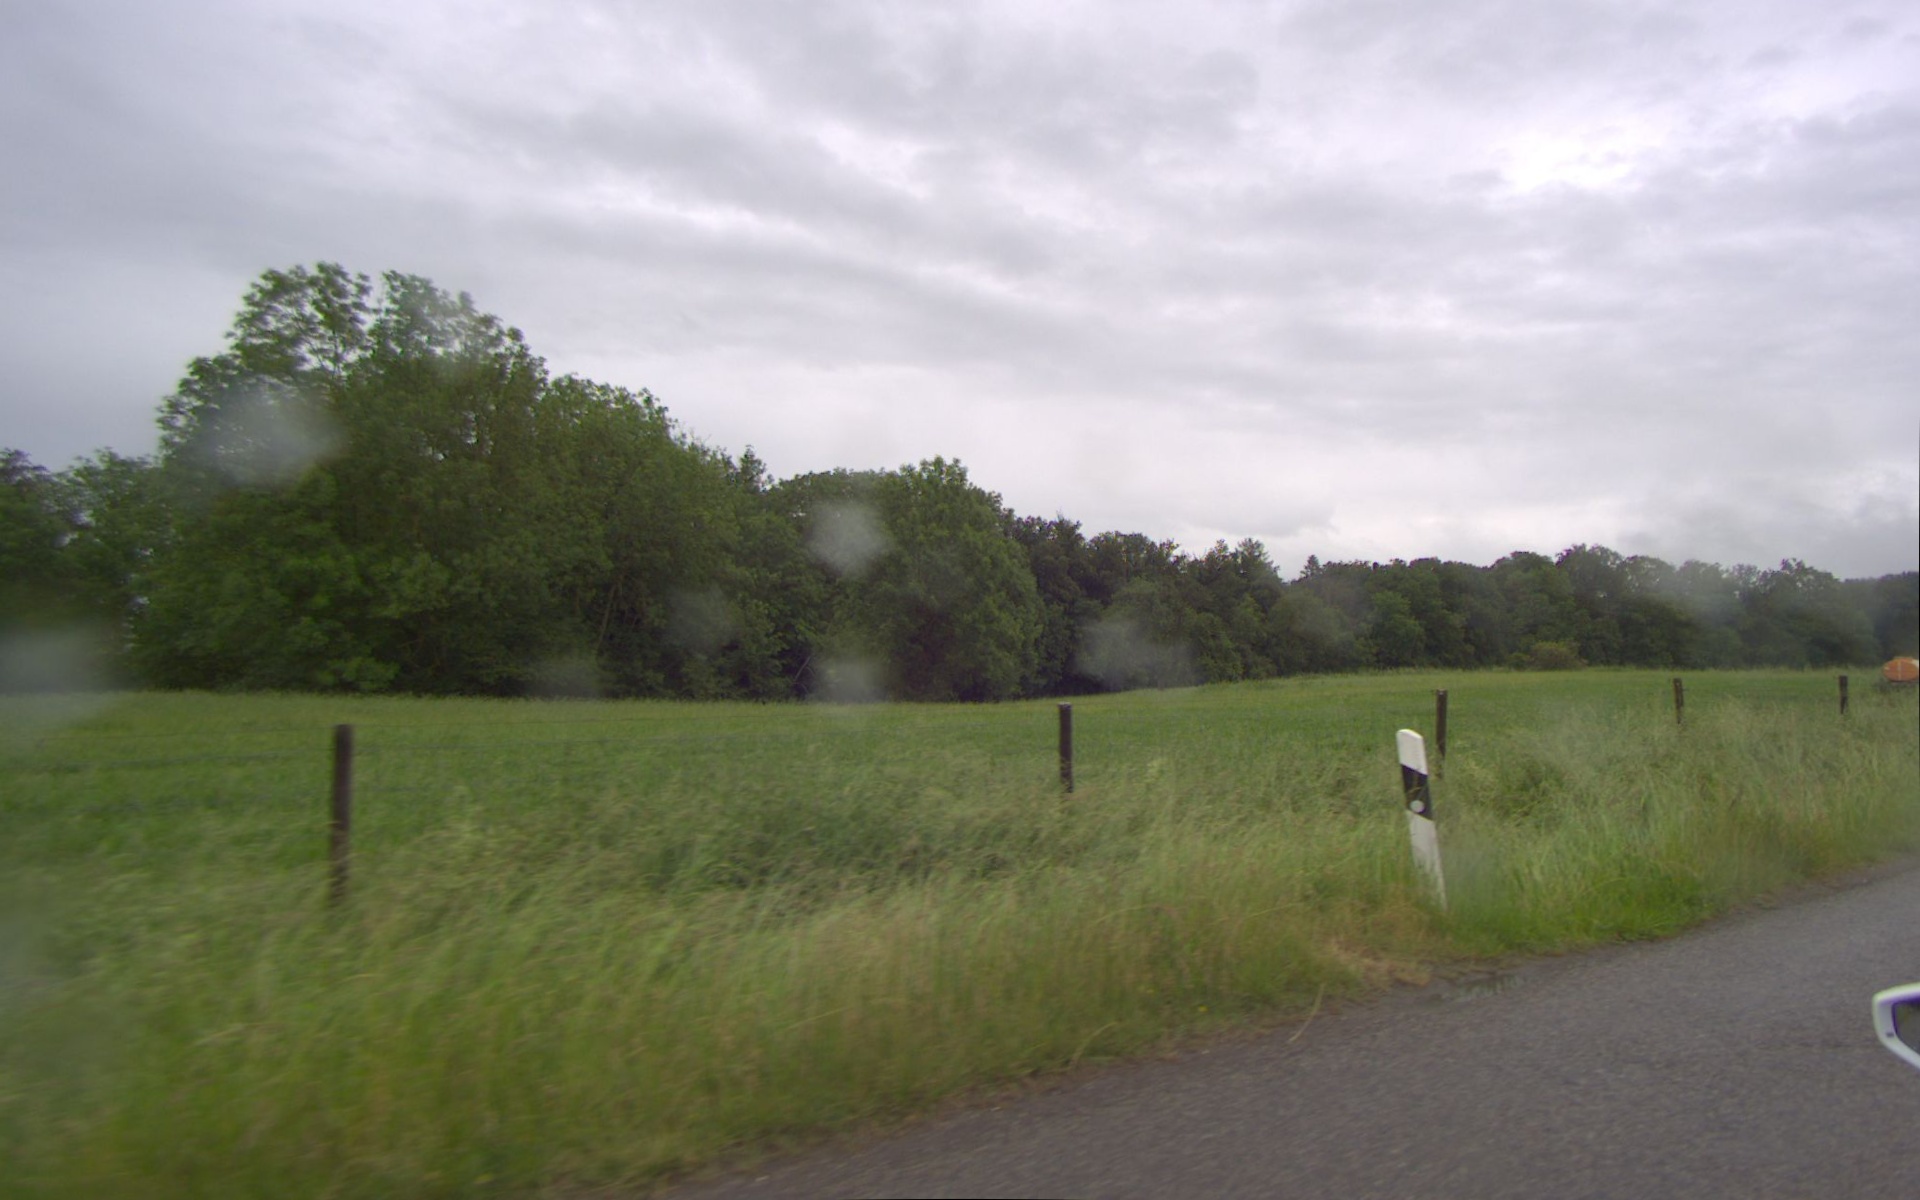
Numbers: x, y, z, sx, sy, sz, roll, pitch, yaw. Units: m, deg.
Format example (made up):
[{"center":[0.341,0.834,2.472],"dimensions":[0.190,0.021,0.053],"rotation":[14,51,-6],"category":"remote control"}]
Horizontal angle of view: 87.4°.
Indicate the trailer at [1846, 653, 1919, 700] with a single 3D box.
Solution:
[{"center":[31.546,2.567,34.137],"dimensions":[3.066,1.524,1.736],"rotation":[3,-3,-41],"category":"trailer"}]
